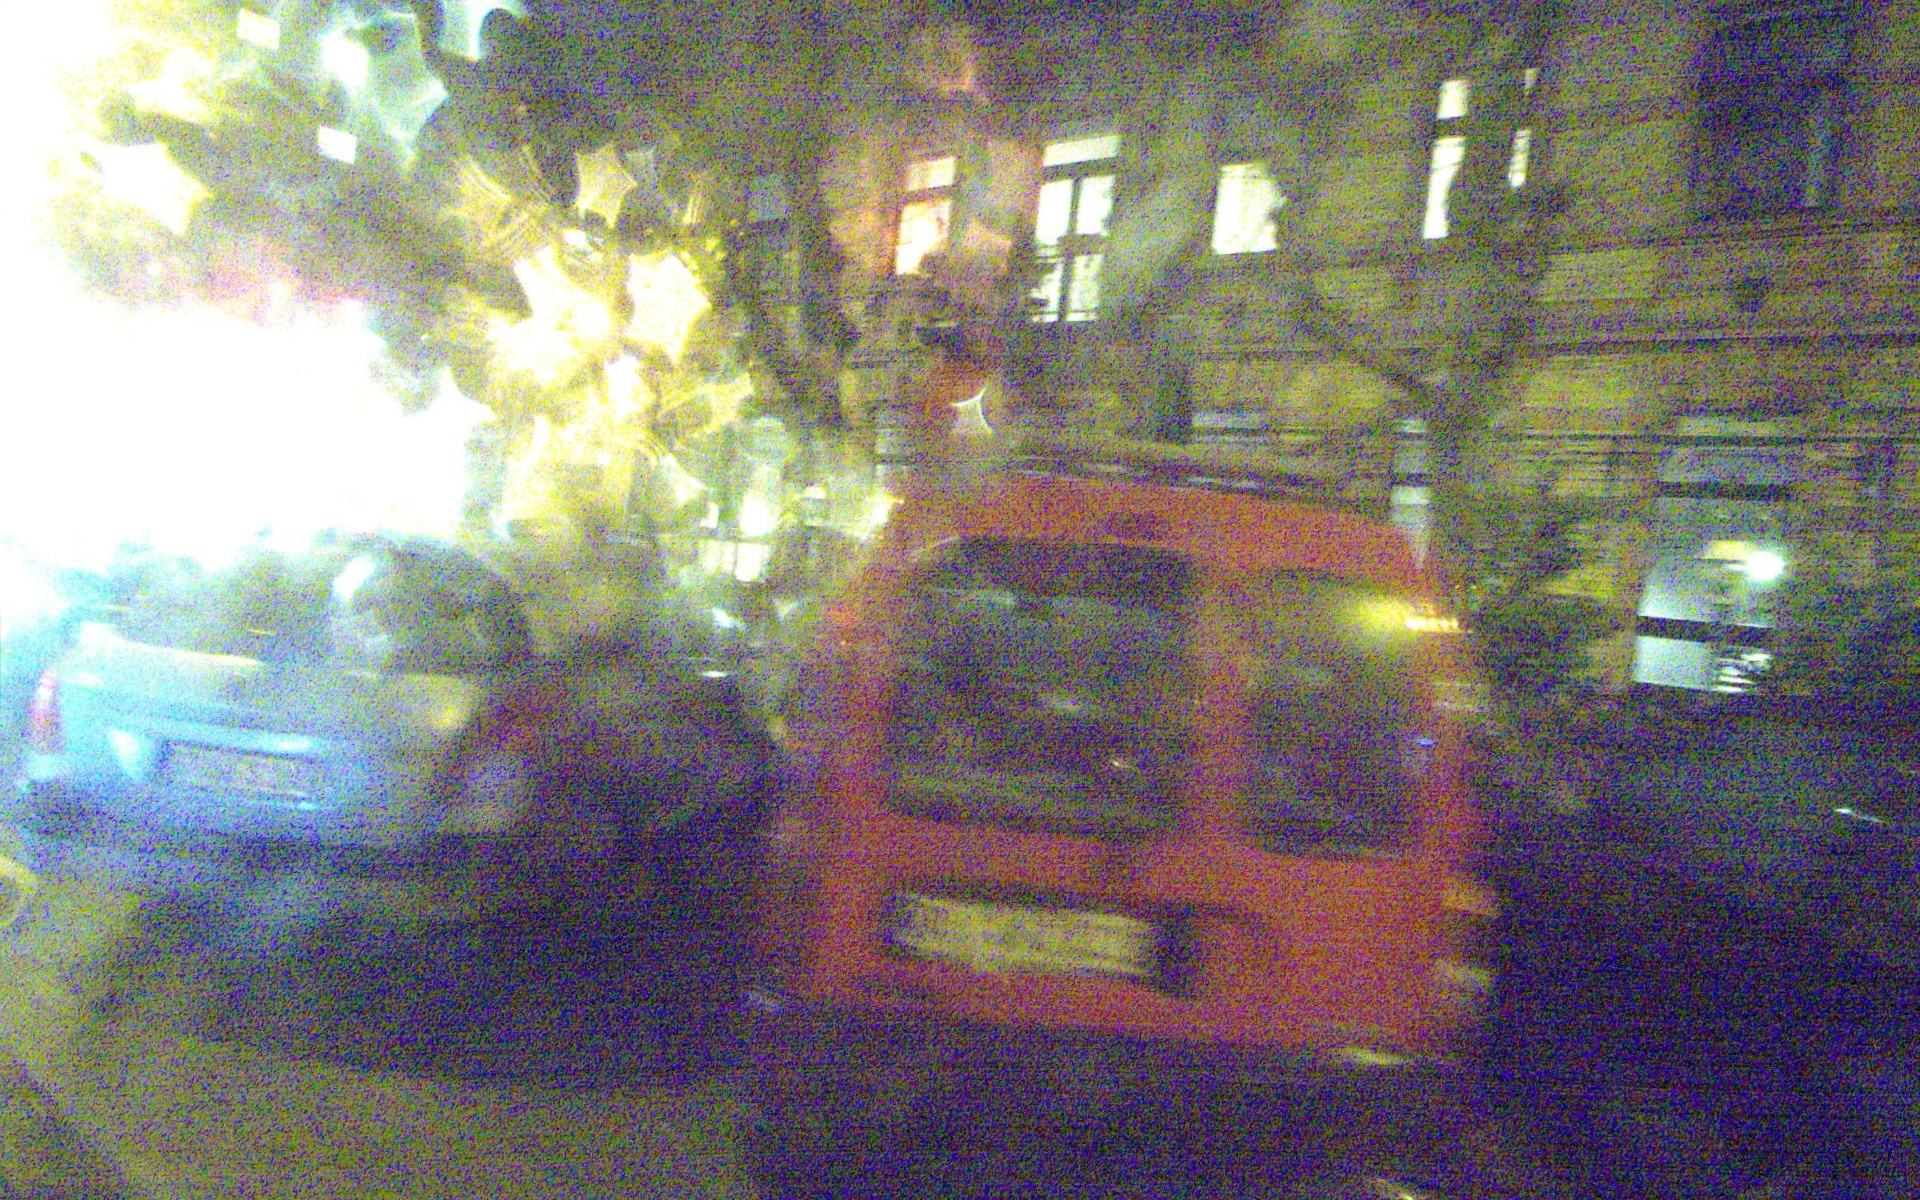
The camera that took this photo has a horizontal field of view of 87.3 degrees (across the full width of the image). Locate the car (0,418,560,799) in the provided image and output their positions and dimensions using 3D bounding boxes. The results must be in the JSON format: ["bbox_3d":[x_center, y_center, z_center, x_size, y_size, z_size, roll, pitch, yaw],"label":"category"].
[{"bbox_3d":[-4.328,-0.025,6.825,1.717,1.735,3.788,6,2,-3],"label":"car"}]

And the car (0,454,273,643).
[{"bbox_3d":[-8.886,-0.539,9.389,1.738,1.594,4.260,6,2,4],"label":"car"}]

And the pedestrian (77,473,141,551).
[{"bbox_3d":[-22.139,-2.269,26.182,0.867,1.856,0.978,6,1,-22],"label":"pedestrian"}]

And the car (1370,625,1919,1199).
[{"bbox_3d":[2.630,0.976,2.431,1.628,1.472,3.702,6,2,0],"label":"car"}]

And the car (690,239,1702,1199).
[{"bbox_3d":[0.329,0.427,3.714,1.690,2.055,3.735,6,2,-3],"label":"car"}]

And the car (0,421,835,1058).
[{"bbox_3d":[-1.977,0.339,4.870,1.799,1.619,4.070,6,2,4],"label":"car"}]

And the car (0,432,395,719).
[{"bbox_3d":[-6.455,-0.274,8.057,1.739,1.735,3.735,6,2,-3],"label":"car"}]
